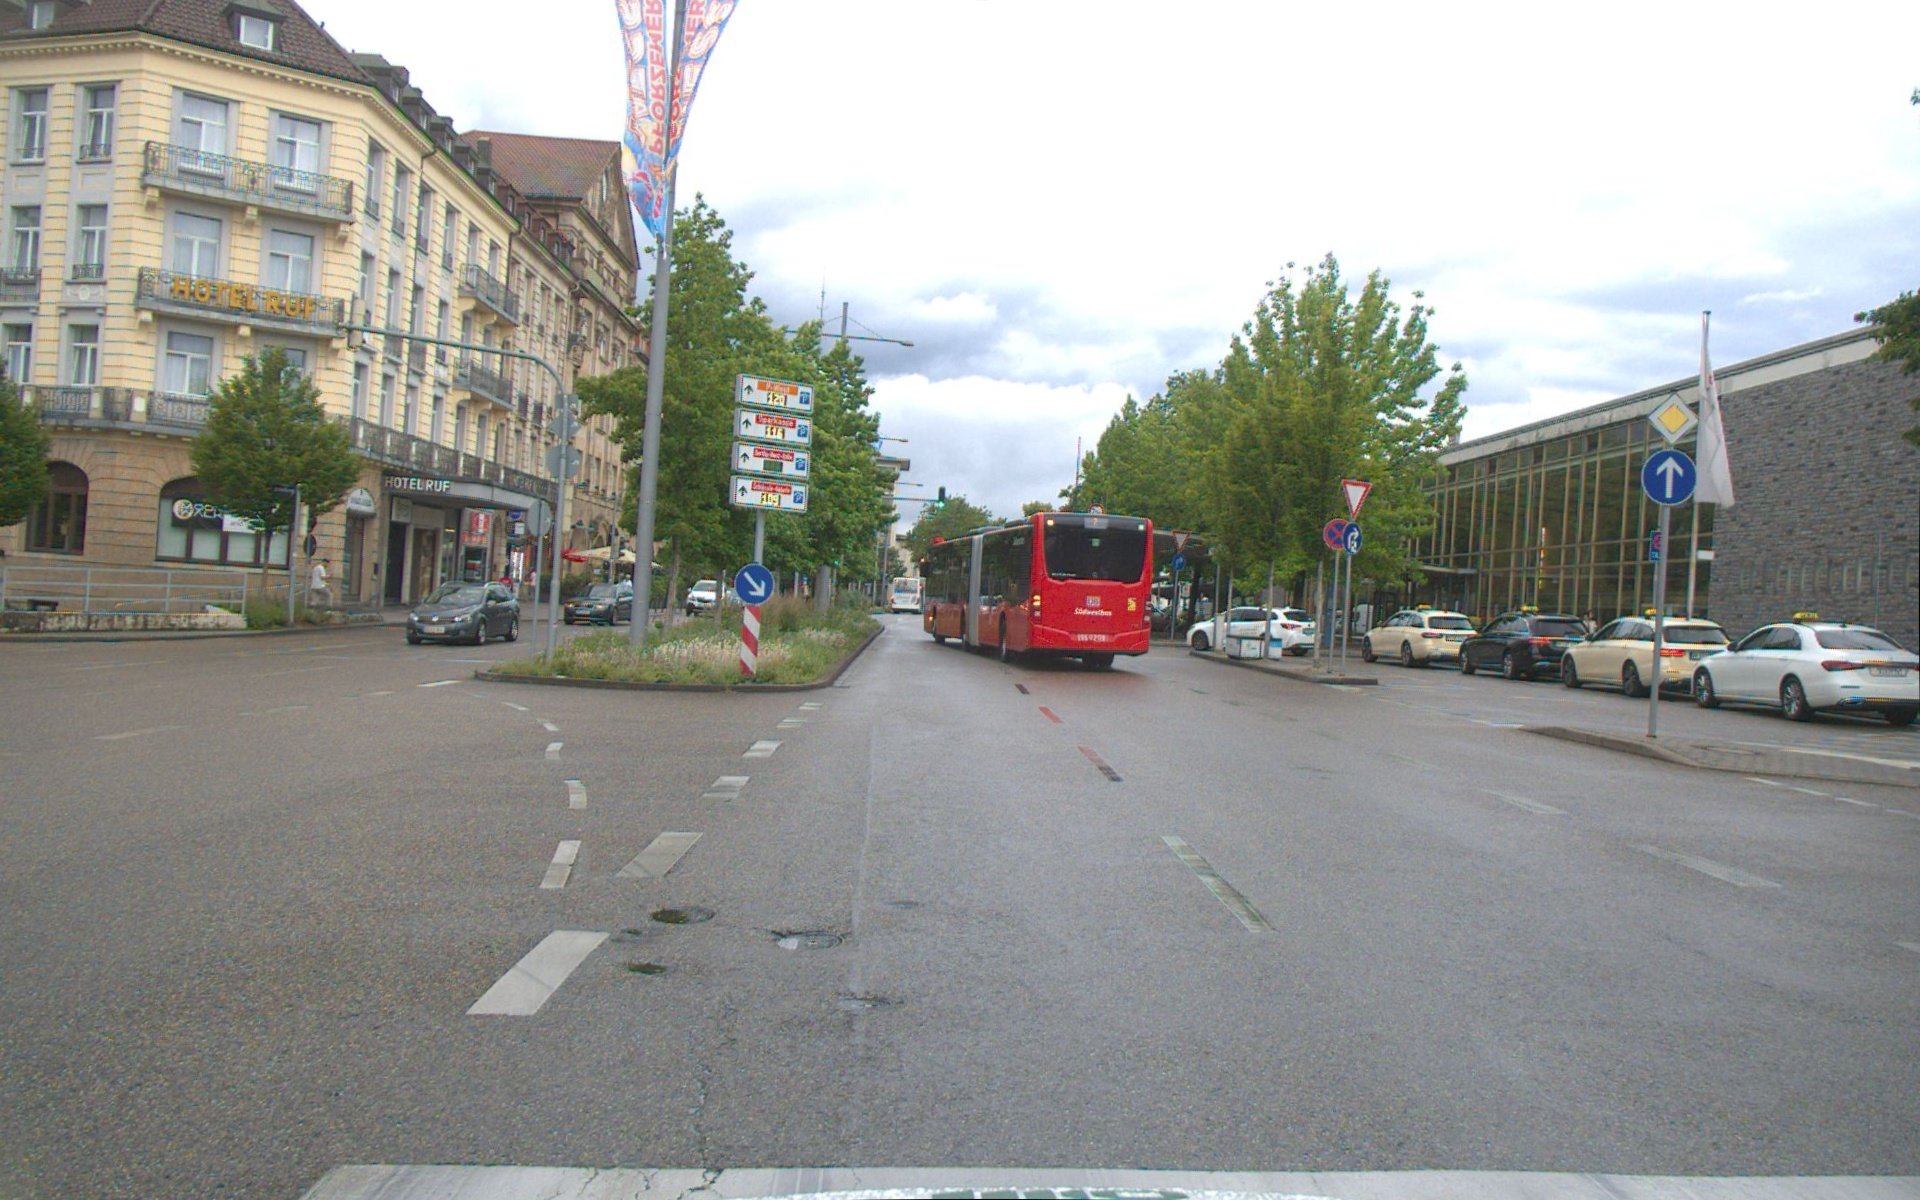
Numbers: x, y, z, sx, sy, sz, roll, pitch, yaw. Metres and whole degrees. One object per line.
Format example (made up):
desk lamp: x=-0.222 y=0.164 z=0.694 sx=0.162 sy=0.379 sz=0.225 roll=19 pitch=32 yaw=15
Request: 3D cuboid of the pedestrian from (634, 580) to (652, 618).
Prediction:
pedestrian: x=-14.748 y=-0.049 z=76.969 sx=0.661 sy=1.731 sz=0.633 roll=2 pitch=0 yaw=-1

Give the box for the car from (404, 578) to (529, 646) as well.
car: x=-12.044 y=0.254 z=40.598 sx=1.718 sy=1.465 sz=4.061 roll=2 pitch=2 yaw=2

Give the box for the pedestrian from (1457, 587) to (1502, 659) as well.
pedestrian: x=15.002 y=0.659 z=47.769 sx=0.801 sy=2.049 sz=0.914 roll=2 pitch=0 yaw=-25

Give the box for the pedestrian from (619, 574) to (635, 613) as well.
pedestrian: x=-15.490 y=-0.293 z=76.927 sx=0.563 sy=1.762 sz=0.609 roll=2 pitch=0 yaw=-1

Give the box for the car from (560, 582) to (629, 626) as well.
car: x=-12.626 y=0.102 z=57.367 sx=1.720 sy=1.393 sz=4.057 roll=2 pitch=1 yaw=-4

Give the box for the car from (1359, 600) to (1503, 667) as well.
car: x=12.561 y=0.851 z=44.473 sx=1.956 sy=1.628 sz=4.814 roll=1 pitch=0 yaw=-8

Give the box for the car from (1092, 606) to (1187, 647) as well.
car: x=8.954 y=1.307 z=82.391 sx=4.273 sy=1.890 sz=1.988 roll=2 pitch=0 yaw=-21

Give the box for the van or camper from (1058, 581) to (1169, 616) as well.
van or camper: x=9.568 y=-0.078 z=103.050 sx=6.675 sy=2.049 sz=2.364 roll=1 pitch=-1 yaw=-27

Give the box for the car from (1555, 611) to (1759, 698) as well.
car: x=13.252 y=0.990 z=31.775 sx=1.809 sy=1.477 sz=4.664 roll=1 pitch=0 yaw=-2

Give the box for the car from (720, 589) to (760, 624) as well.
car: x=-11.846 y=0.316 z=89.196 sx=1.955 sy=1.789 sz=3.995 roll=2 pitch=0 yaw=-6

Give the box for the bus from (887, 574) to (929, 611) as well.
bus: x=-5.024 y=-0.693 z=155.744 sx=3.685 sy=3.265 sz=15.517 roll=1 pitch=0 yaw=-3

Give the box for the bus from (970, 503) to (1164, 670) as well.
bus: x=2.146 y=-0.282 z=36.651 sx=2.691 sy=3.229 sz=8.106 roll=1 pitch=0 yaw=-8

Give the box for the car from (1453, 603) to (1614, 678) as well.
car: x=13.062 y=0.885 z=37.996 sx=1.875 sy=1.551 sz=4.740 roll=1 pitch=0 yaw=-3

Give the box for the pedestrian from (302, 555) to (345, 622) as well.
pedestrian: x=-18.755 y=-0.339 z=48.744 sx=0.845 sy=1.911 sz=1.022 roll=2 pitch=0 yaw=-1

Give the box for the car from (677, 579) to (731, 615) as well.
car: x=-11.733 y=-0.157 z=75.933 sx=1.718 sy=1.392 sz=4.062 roll=2 pitch=3 yaw=2

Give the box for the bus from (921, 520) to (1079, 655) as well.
bus: x=0.859 y=-0.317 z=45.406 sx=2.691 sy=3.229 sz=10.177 roll=1 pitch=0 yaw=-8

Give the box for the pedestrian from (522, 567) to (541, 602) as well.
pedestrian: x=-19.254 y=-0.693 z=74.358 sx=0.656 sy=1.537 sz=0.512 roll=1 pitch=0 yaw=-39

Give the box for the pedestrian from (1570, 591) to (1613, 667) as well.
pedestrian: x=17.541 y=0.800 z=45.945 sx=0.795 sy=2.049 sz=0.921 roll=2 pitch=0 yaw=-2

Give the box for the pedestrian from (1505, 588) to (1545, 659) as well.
pedestrian: x=16.559 y=0.683 z=48.462 sx=0.795 sy=2.049 sz=0.921 roll=2 pitch=0 yaw=0

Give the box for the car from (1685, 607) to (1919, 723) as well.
car: x=13.382 y=0.946 z=26.059 sx=1.739 sy=1.617 sz=4.614 roll=1 pitch=0 yaw=-2

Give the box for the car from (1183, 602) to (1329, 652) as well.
car: x=9.103 y=0.814 z=51.188 sx=1.764 sy=1.409 sz=4.303 roll=1 pitch=0 yaw=-41
